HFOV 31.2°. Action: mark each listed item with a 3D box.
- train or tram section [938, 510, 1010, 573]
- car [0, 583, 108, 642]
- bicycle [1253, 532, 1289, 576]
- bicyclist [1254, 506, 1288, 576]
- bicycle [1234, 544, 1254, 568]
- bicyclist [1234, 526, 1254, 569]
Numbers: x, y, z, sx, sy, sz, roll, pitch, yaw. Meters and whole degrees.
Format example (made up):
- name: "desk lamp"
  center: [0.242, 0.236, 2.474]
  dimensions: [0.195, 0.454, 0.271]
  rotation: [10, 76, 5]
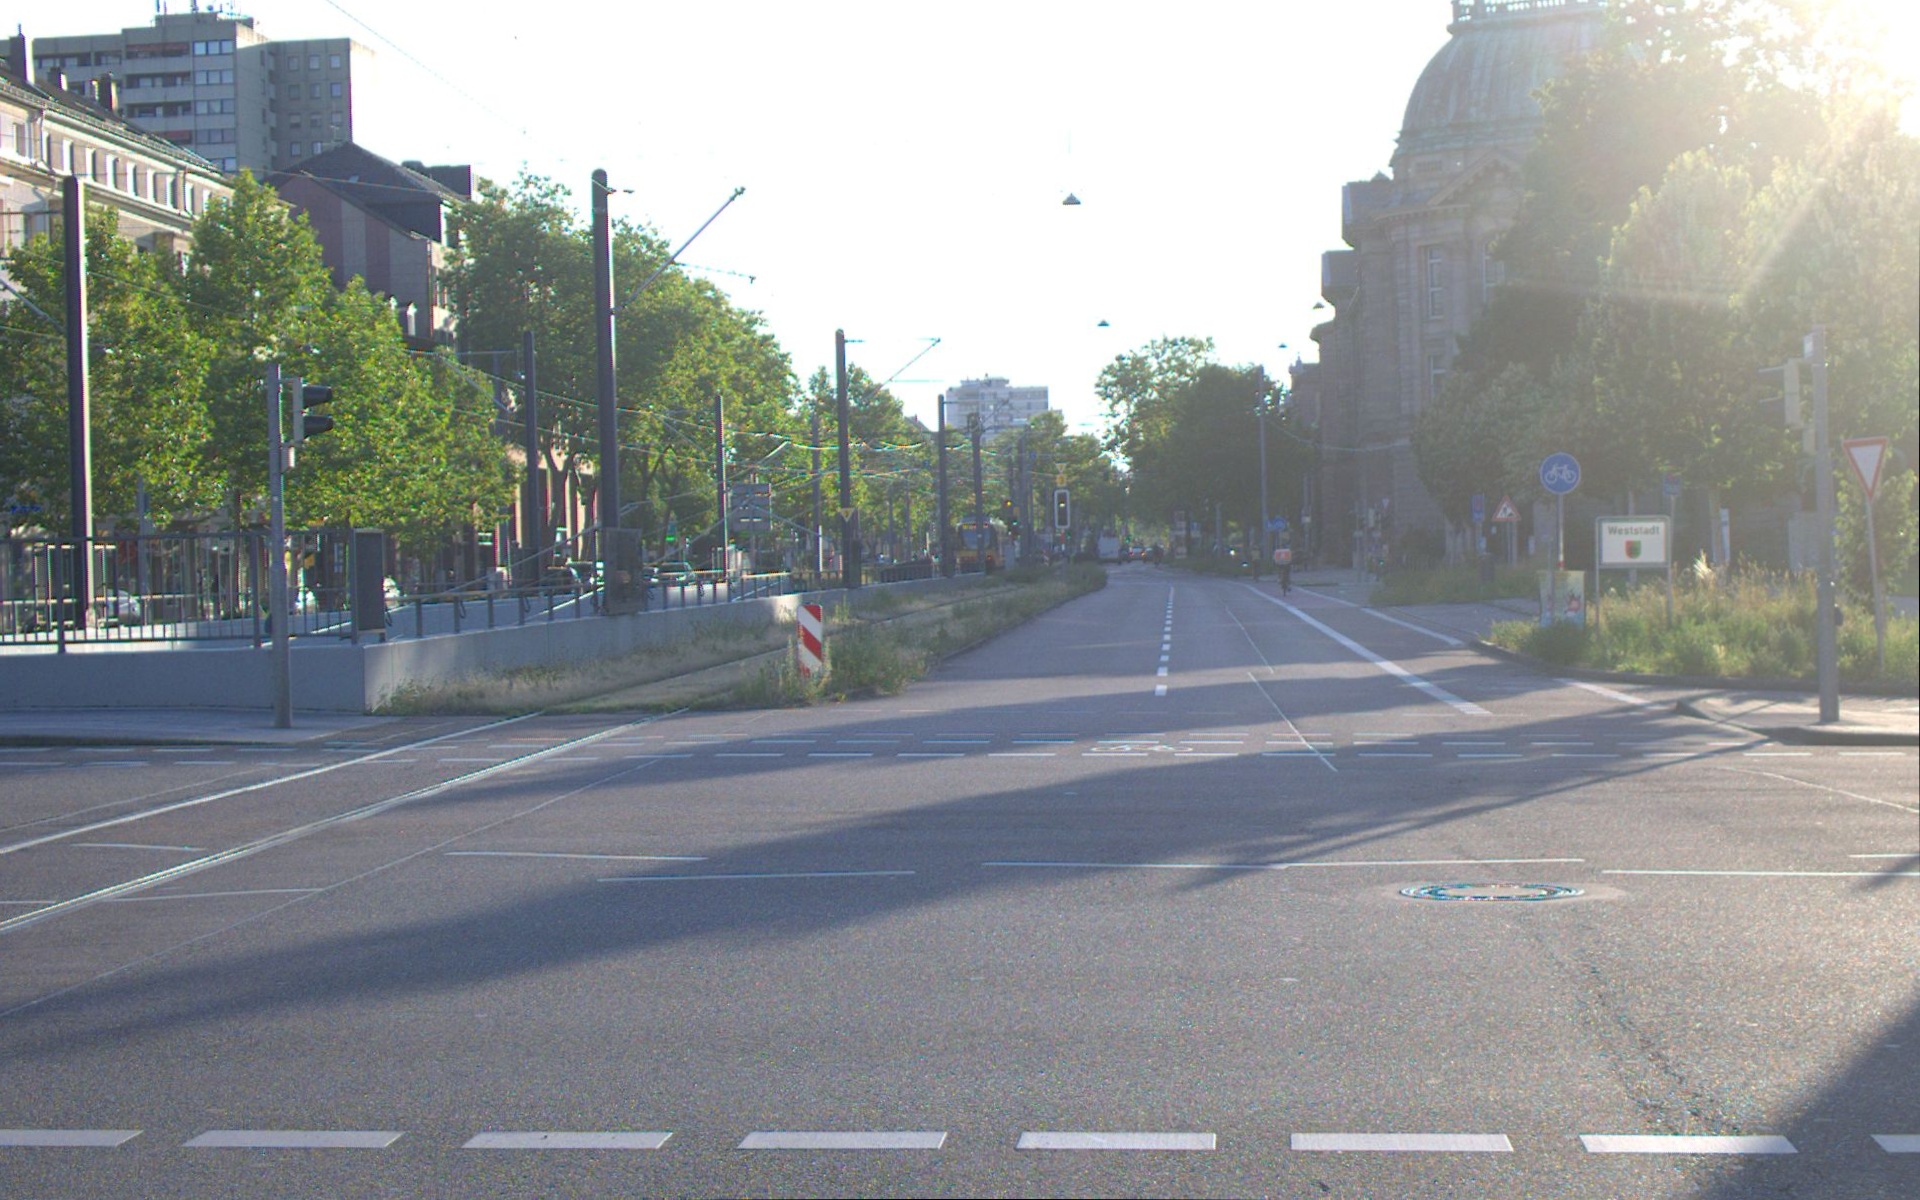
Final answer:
- name: "train or tram section"
  center: [0.874, -3.737, 220.259]
  dimensions: [4.386, 3.837, 11.410]
  rotation: [-1, 1, 0]
- name: "car"
  center: [-23.783, 0.322, 89.327]
  dimensions: [1.820, 1.415, 3.999]
  rotation: [-1, 1, 8]
- name: "bicycle"
  center: [10.236, -1.506, 113.071]
  dimensions: [1.098, 1.394, 2.831]
  rotation: [-1, 1, 4]
- name: "bicyclist"
  center: [10.227, -1.947, 113.081]
  dimensions: [1.082, 2.268, 0.986]
  rotation: [-1, 1, 4]
- name: "bicycle"
  center: [13.408, -2.094, 162.268]
  dimensions: [0.924, 1.108, 2.333]
  rotation: [-1, 1, 4]
- name: "bicyclist"
  center: [13.404, -2.487, 162.334]
  dimensions: [0.925, 2.007, 0.850]
  rotation: [-1, 1, 4]
